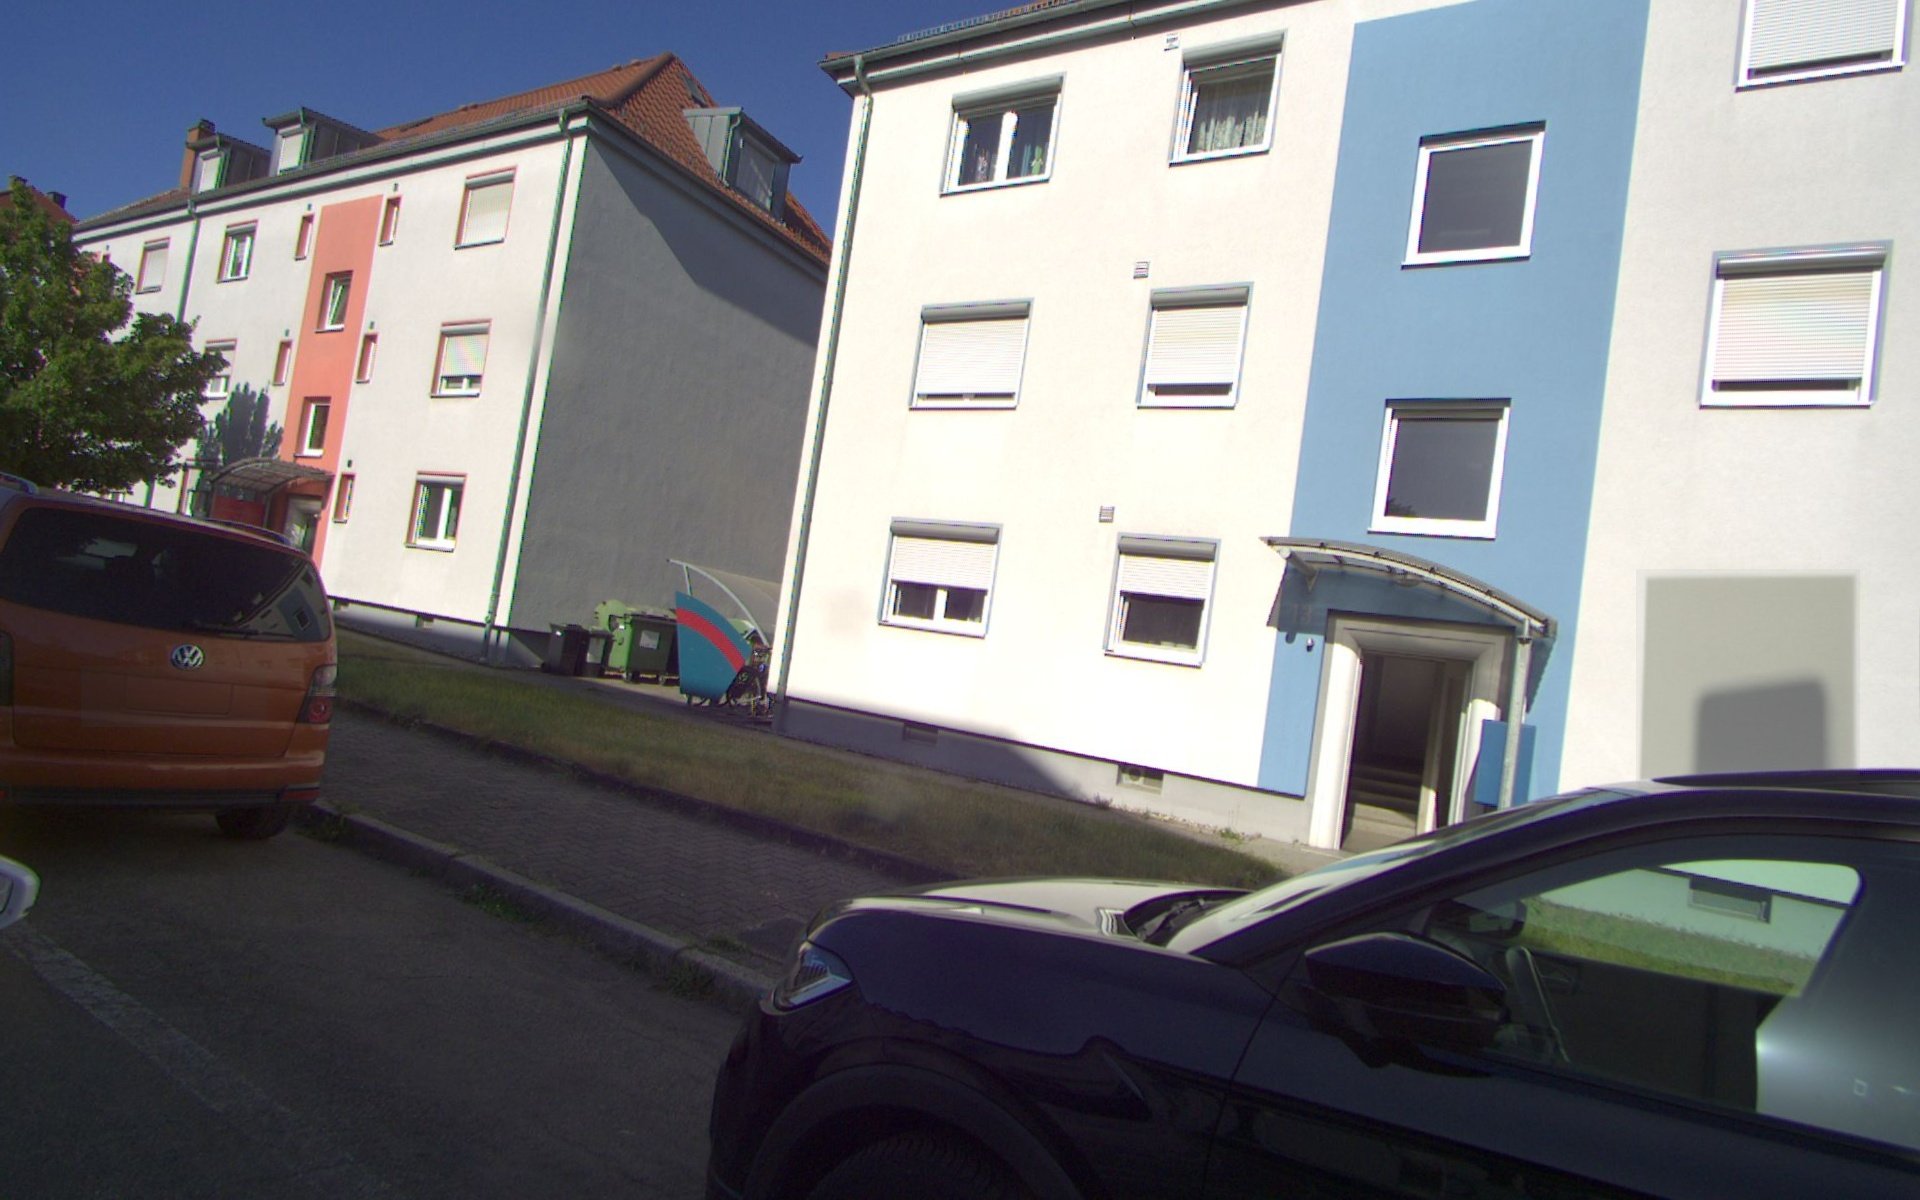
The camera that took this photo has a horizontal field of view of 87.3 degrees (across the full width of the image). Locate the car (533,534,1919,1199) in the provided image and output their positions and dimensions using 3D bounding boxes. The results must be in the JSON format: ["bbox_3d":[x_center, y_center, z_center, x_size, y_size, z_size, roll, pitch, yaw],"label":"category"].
[{"bbox_3d":[1.450,1.002,1.778,4.324,1.612,1.718,7,-5,31],"label":"car"}]

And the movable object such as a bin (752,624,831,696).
[{"bbox_3d":[-3.811,1.363,22.763,1.168,1.431,1.068,7,-3,31],"label":"movable object such as a bin"}]

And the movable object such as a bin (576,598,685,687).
[{"bbox_3d":[-6.204,0.820,18.987,1.168,1.431,1.364,7,-3,31],"label":"movable object such as a bin"}]

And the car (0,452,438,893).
[{"bbox_3d":[-5.079,0.223,5.523,4.058,1.684,1.870,7,-6,31],"label":"car"}]

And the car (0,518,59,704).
[{"bbox_3d":[-9.649,-0.205,8.556,3.775,1.474,1.625,7,-6,29],"label":"car"}]

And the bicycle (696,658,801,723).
[{"bbox_3d":[-3.421,1.447,16.201,1.751,0.776,0.454,7,-2,32],"label":"bicycle"}]

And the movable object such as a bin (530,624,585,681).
[{"bbox_3d":[-7.089,0.923,17.735,0.622,0.896,0.524,7,-3,32],"label":"movable object such as a bin"}]

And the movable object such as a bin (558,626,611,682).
[{"bbox_3d":[-6.793,0.982,18.205,0.622,0.896,0.524,7,-3,32],"label":"movable object such as a bin"}]

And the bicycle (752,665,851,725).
[{"bbox_3d":[-2.700,1.603,17.066,1.682,0.767,0.454,7,-2,32],"label":"bicycle"}]

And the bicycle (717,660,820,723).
[{"bbox_3d":[-3.189,1.509,16.689,1.758,0.767,0.454,7,-2,32],"label":"bicycle"}]

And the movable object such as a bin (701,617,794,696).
[{"bbox_3d":[-4.523,1.215,21.480,1.168,1.431,1.364,7,-3,31],"label":"movable object such as a bin"}]

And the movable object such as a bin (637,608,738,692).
[{"bbox_3d":[-5.480,1.019,20.278,1.168,1.431,1.364,7,-3,31],"label":"movable object such as a bin"}]

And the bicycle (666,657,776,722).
[{"bbox_3d":[-3.783,1.406,15.868,1.838,0.749,0.454,7,-2,32],"label":"bicycle"}]
